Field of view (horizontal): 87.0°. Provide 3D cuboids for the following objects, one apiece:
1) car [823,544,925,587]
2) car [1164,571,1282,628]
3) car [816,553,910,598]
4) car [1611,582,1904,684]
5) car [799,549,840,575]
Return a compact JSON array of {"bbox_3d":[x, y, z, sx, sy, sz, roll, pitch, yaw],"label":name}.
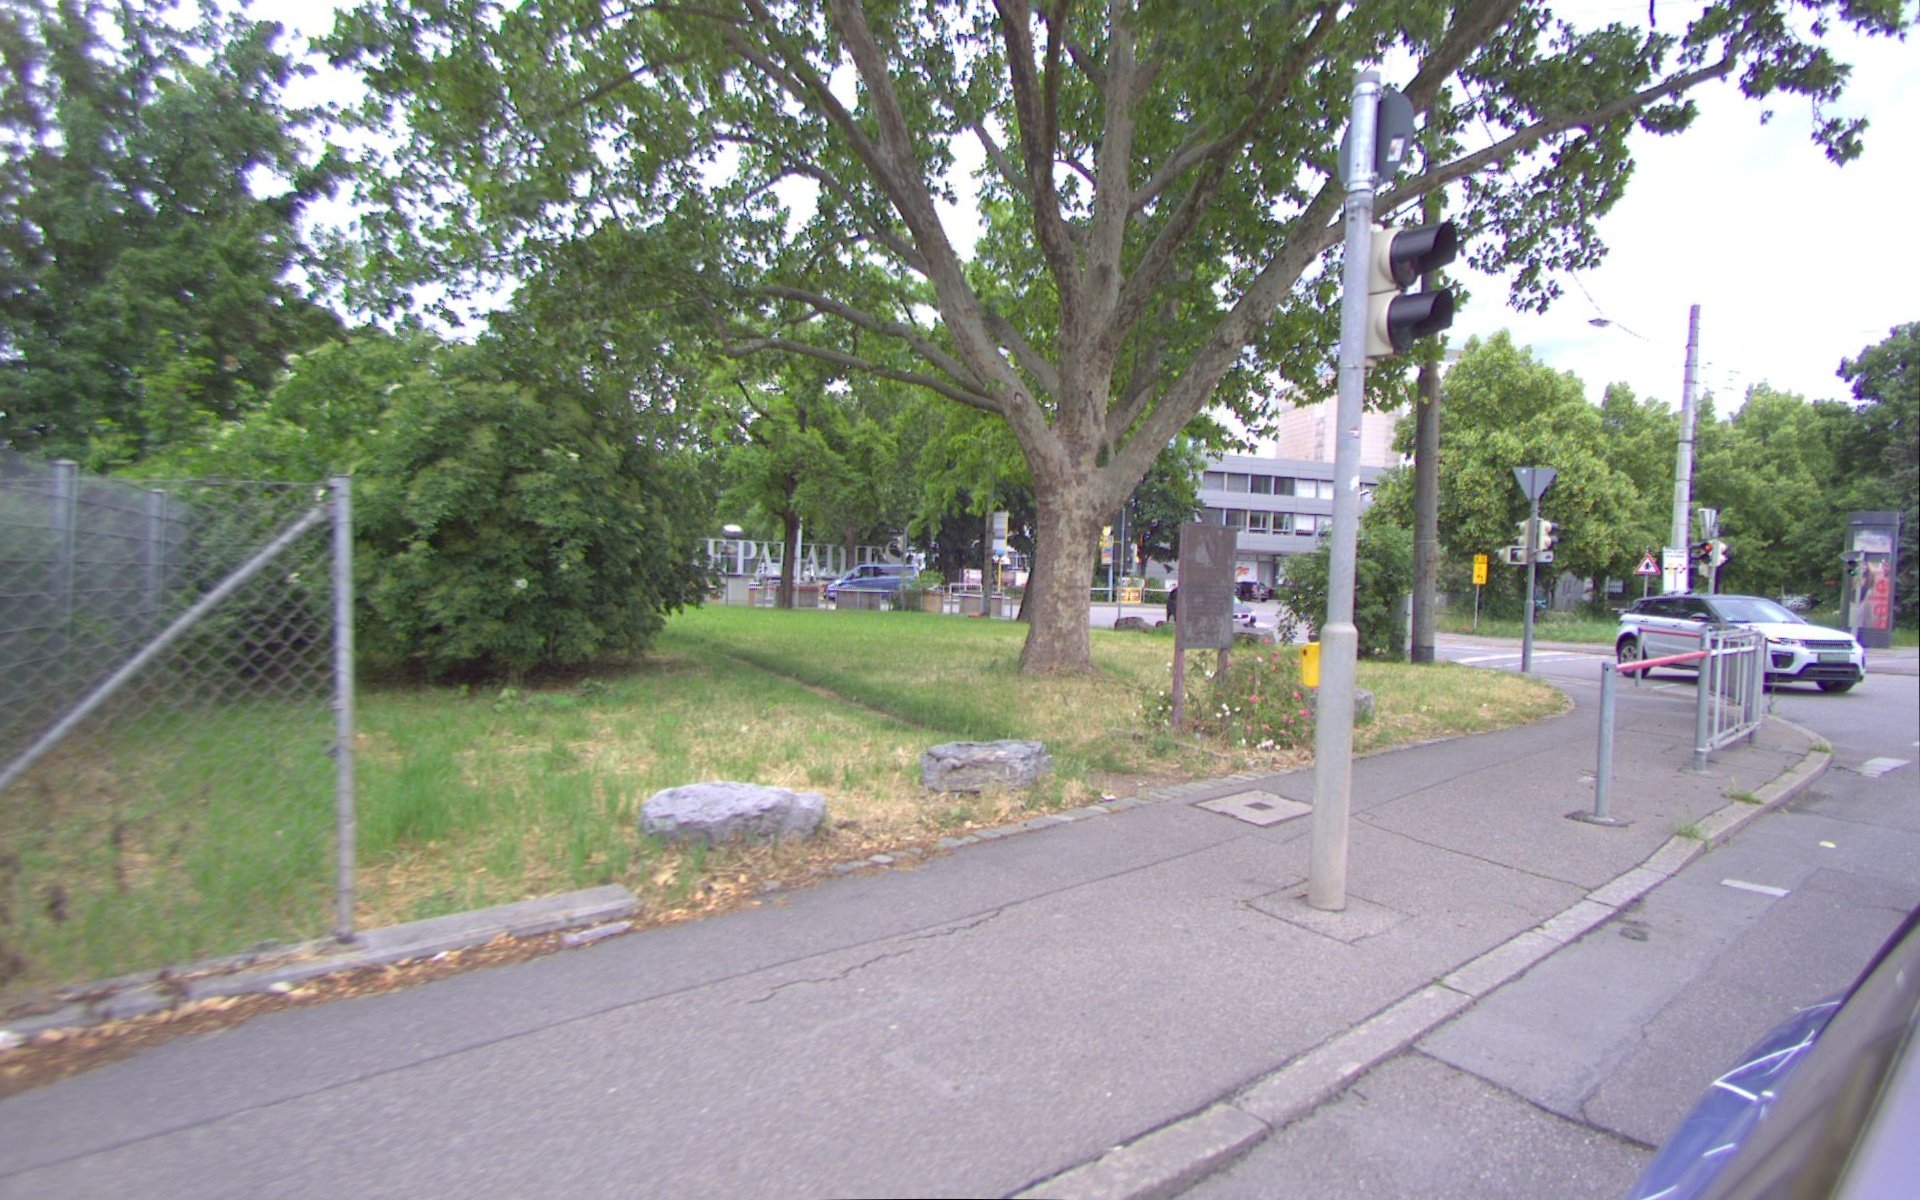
[{"bbox_3d":[-4.284,-1.719,50.567,4.703,1.969,1.837,1,2,-25],"label":"car"},{"bbox_3d":[9.383,-0.078,36.455,1.795,1.794,4.239,3,1,-24],"label":"car"},{"bbox_3d":[-4.837,-1.221,50.445,4.151,2.038,2.005,1,3,-26],"label":"car"},{"bbox_3d":[14.059,0.532,18.213,1.880,1.589,4.114,-1,0,-2],"label":"car"},{"bbox_3d":[-9.235,-2.528,66.183,1.958,1.474,4.714,-2,5,-16],"label":"car"}]
